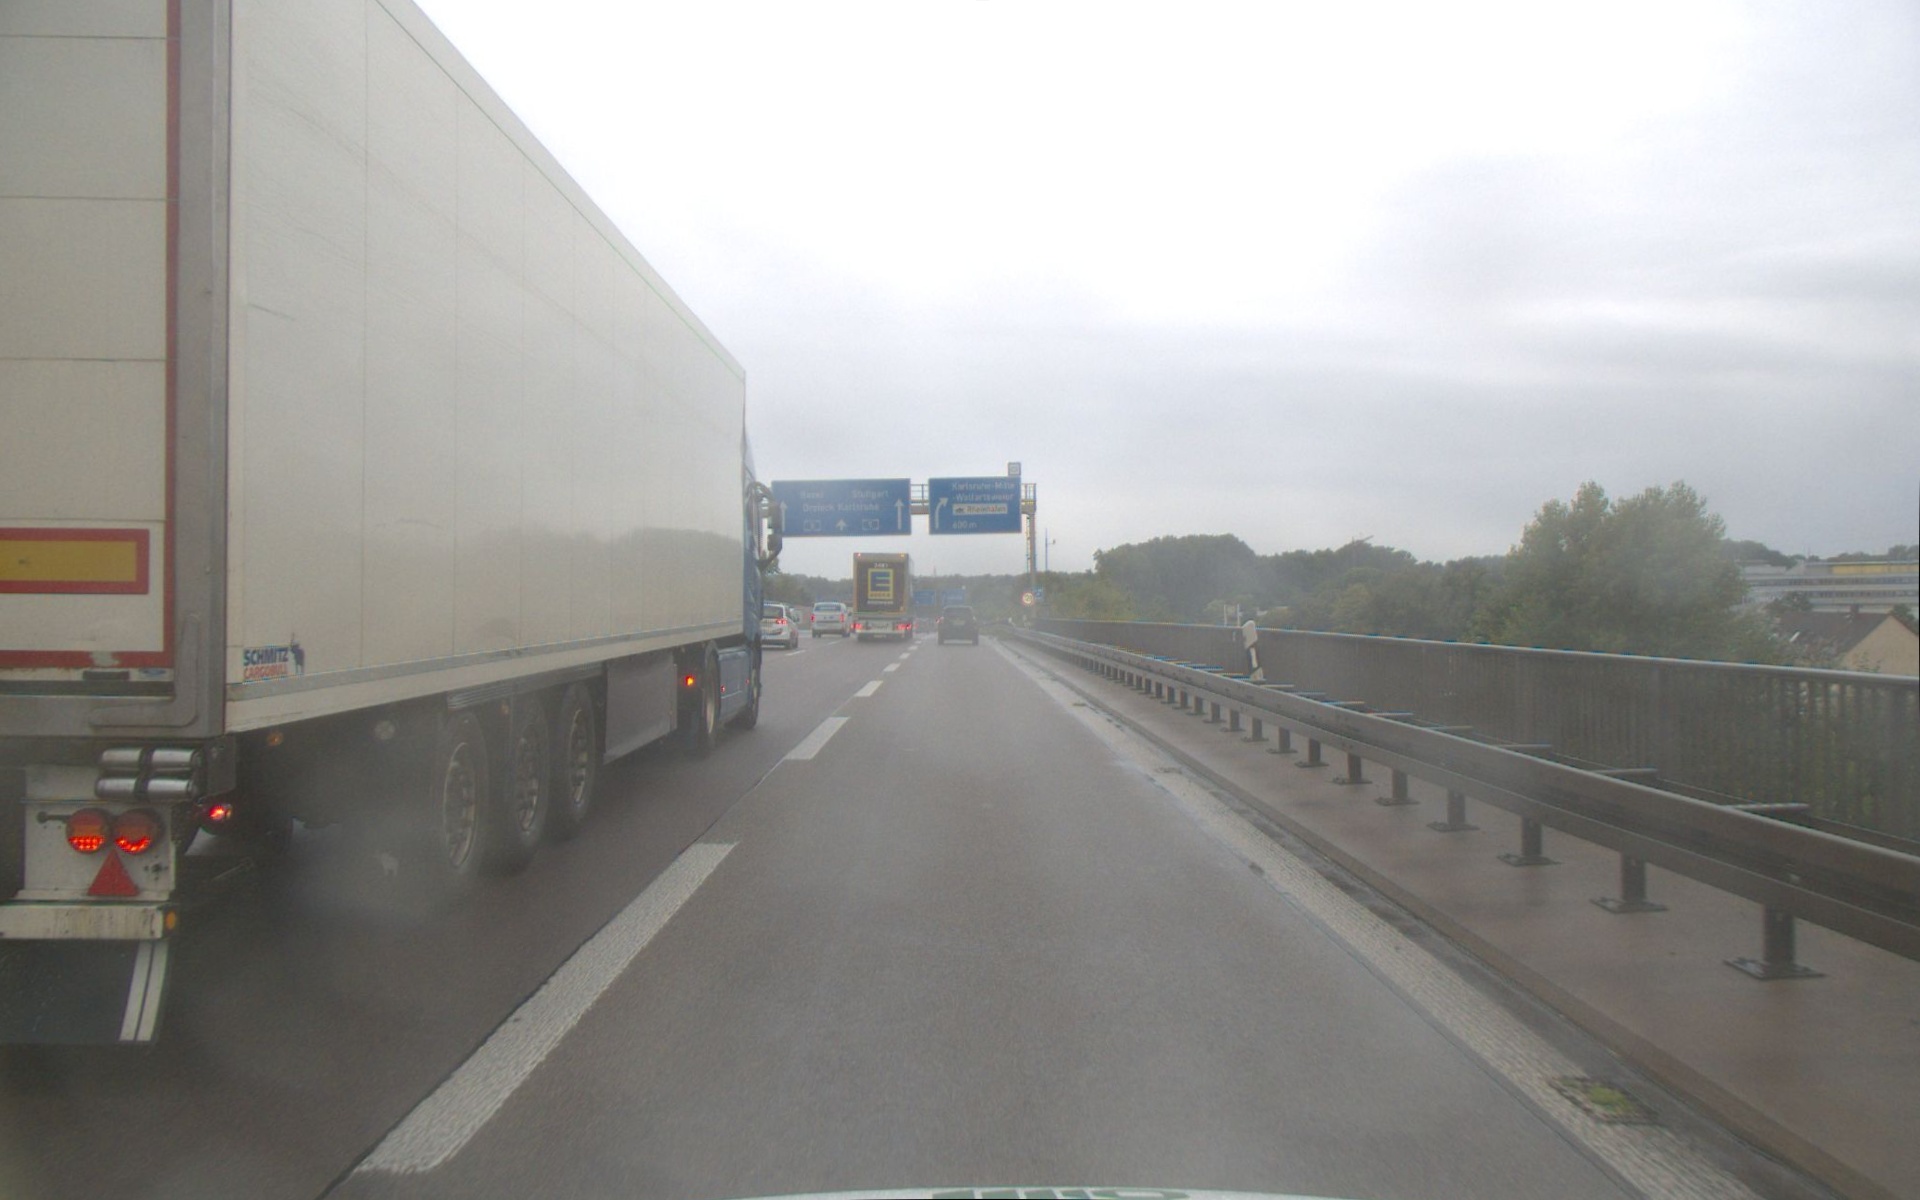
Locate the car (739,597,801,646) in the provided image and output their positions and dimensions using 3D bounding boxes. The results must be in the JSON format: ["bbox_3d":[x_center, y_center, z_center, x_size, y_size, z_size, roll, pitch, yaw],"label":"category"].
[{"bbox_3d":[-7.088,0.813,62.036,1.855,1.754,3.999,1,-1,0],"label":"car"}]

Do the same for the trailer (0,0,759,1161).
[{"bbox_3d":[-3.464,-0.629,11.732,2.295,4.230,14.824,1,0,0],"label":"trailer"}]

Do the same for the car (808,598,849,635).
[{"bbox_3d":[-7.476,0.969,94.565,2.007,1.984,3.999,1,-1,0],"label":"car"}]

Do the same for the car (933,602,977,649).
[{"bbox_3d":[-0.178,1.158,73.708,1.858,1.984,4.000,1,-1,1],"label":"car"}]

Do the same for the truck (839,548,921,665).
[{"bbox_3d":[-3.781,0.401,80.751,3.462,5.274,9.890,1,-1,0],"label":"truck"}]

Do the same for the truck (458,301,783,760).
[{"bbox_3d":[-3.497,-0.629,18.577,2.295,4.230,6.345,1,0,0],"label":"truck"}]
